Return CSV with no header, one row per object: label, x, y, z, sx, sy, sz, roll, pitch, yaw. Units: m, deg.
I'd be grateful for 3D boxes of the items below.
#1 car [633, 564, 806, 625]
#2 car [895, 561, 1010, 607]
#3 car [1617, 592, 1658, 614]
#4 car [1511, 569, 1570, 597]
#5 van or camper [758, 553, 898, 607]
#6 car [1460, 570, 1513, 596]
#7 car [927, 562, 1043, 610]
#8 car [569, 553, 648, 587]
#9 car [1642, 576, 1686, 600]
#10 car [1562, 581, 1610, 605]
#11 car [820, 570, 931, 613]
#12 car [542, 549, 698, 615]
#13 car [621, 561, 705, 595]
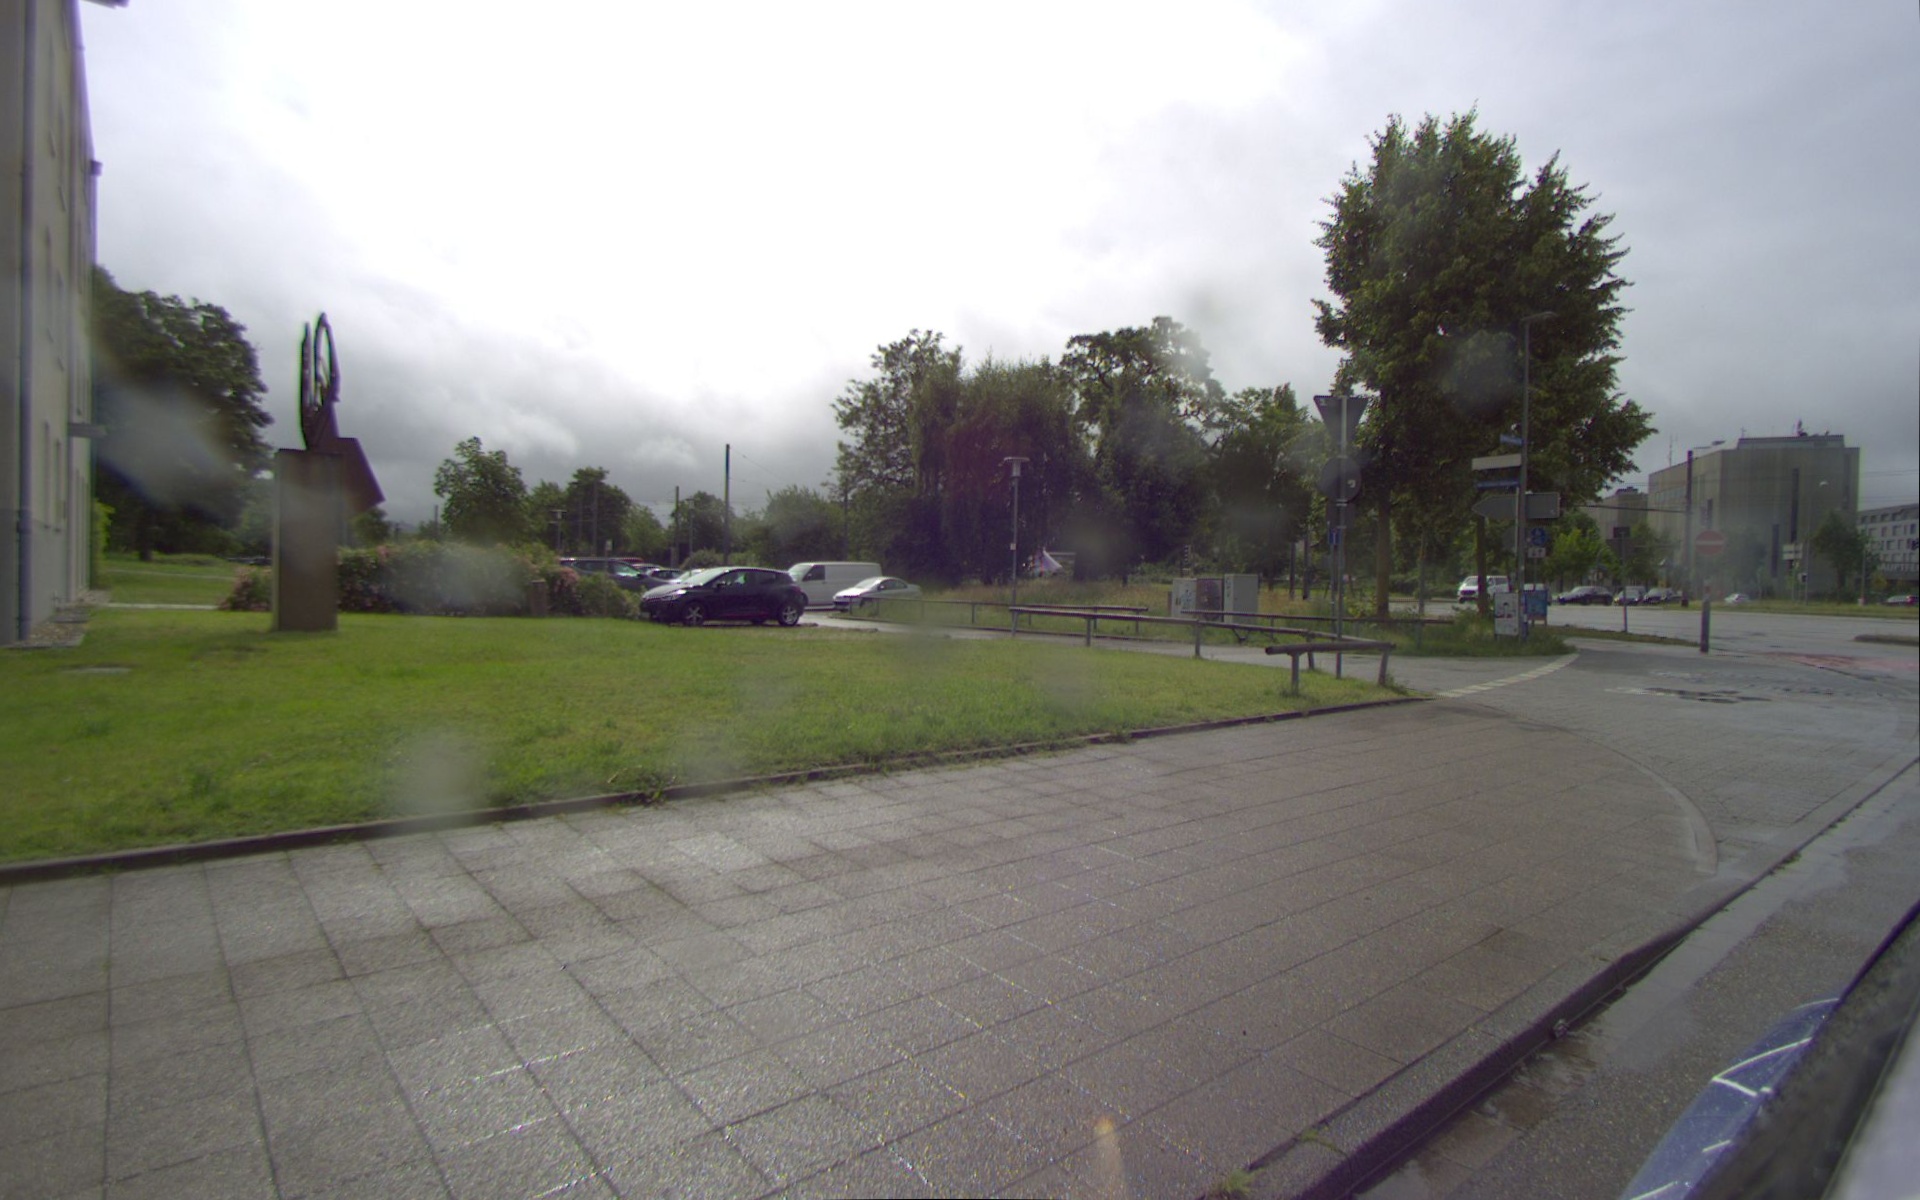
car,-5.689,-0.138,24.187,3.808,1.342,1.390,0,2,-41
car,-0.234,-0.592,37.368,3.931,1.567,1.933,0,2,-41
car,57.982,0.225,86.620,3.930,1.771,1.867,0,2,-41
car,36.642,-1.052,63.856,4.125,1.709,1.669,1,1,-35
van or camper,-5.460,-0.798,42.309,5.577,2.130,1.998,0,1,-40
car,37.442,-1.202,71.911,4.154,1.734,1.891,0,2,-40
car,0.900,-0.482,35.446,3.706,1.567,1.933,0,2,-41
car,-21.709,-1.855,62.619,4.199,1.952,1.933,0,2,-41
car,55.238,-0.915,79.351,3.930,1.771,1.867,0,2,-41
car,44.639,-0.515,72.134,3.930,1.616,1.768,-1,2,-40
car,-3.242,-0.338,39.231,3.931,1.567,1.933,0,2,-41
car,-10.328,-0.556,30.879,4.061,1.872,1.933,0,2,-41
car,-16.271,-1.203,55.526,3.930,1.760,1.933,0,2,-41
